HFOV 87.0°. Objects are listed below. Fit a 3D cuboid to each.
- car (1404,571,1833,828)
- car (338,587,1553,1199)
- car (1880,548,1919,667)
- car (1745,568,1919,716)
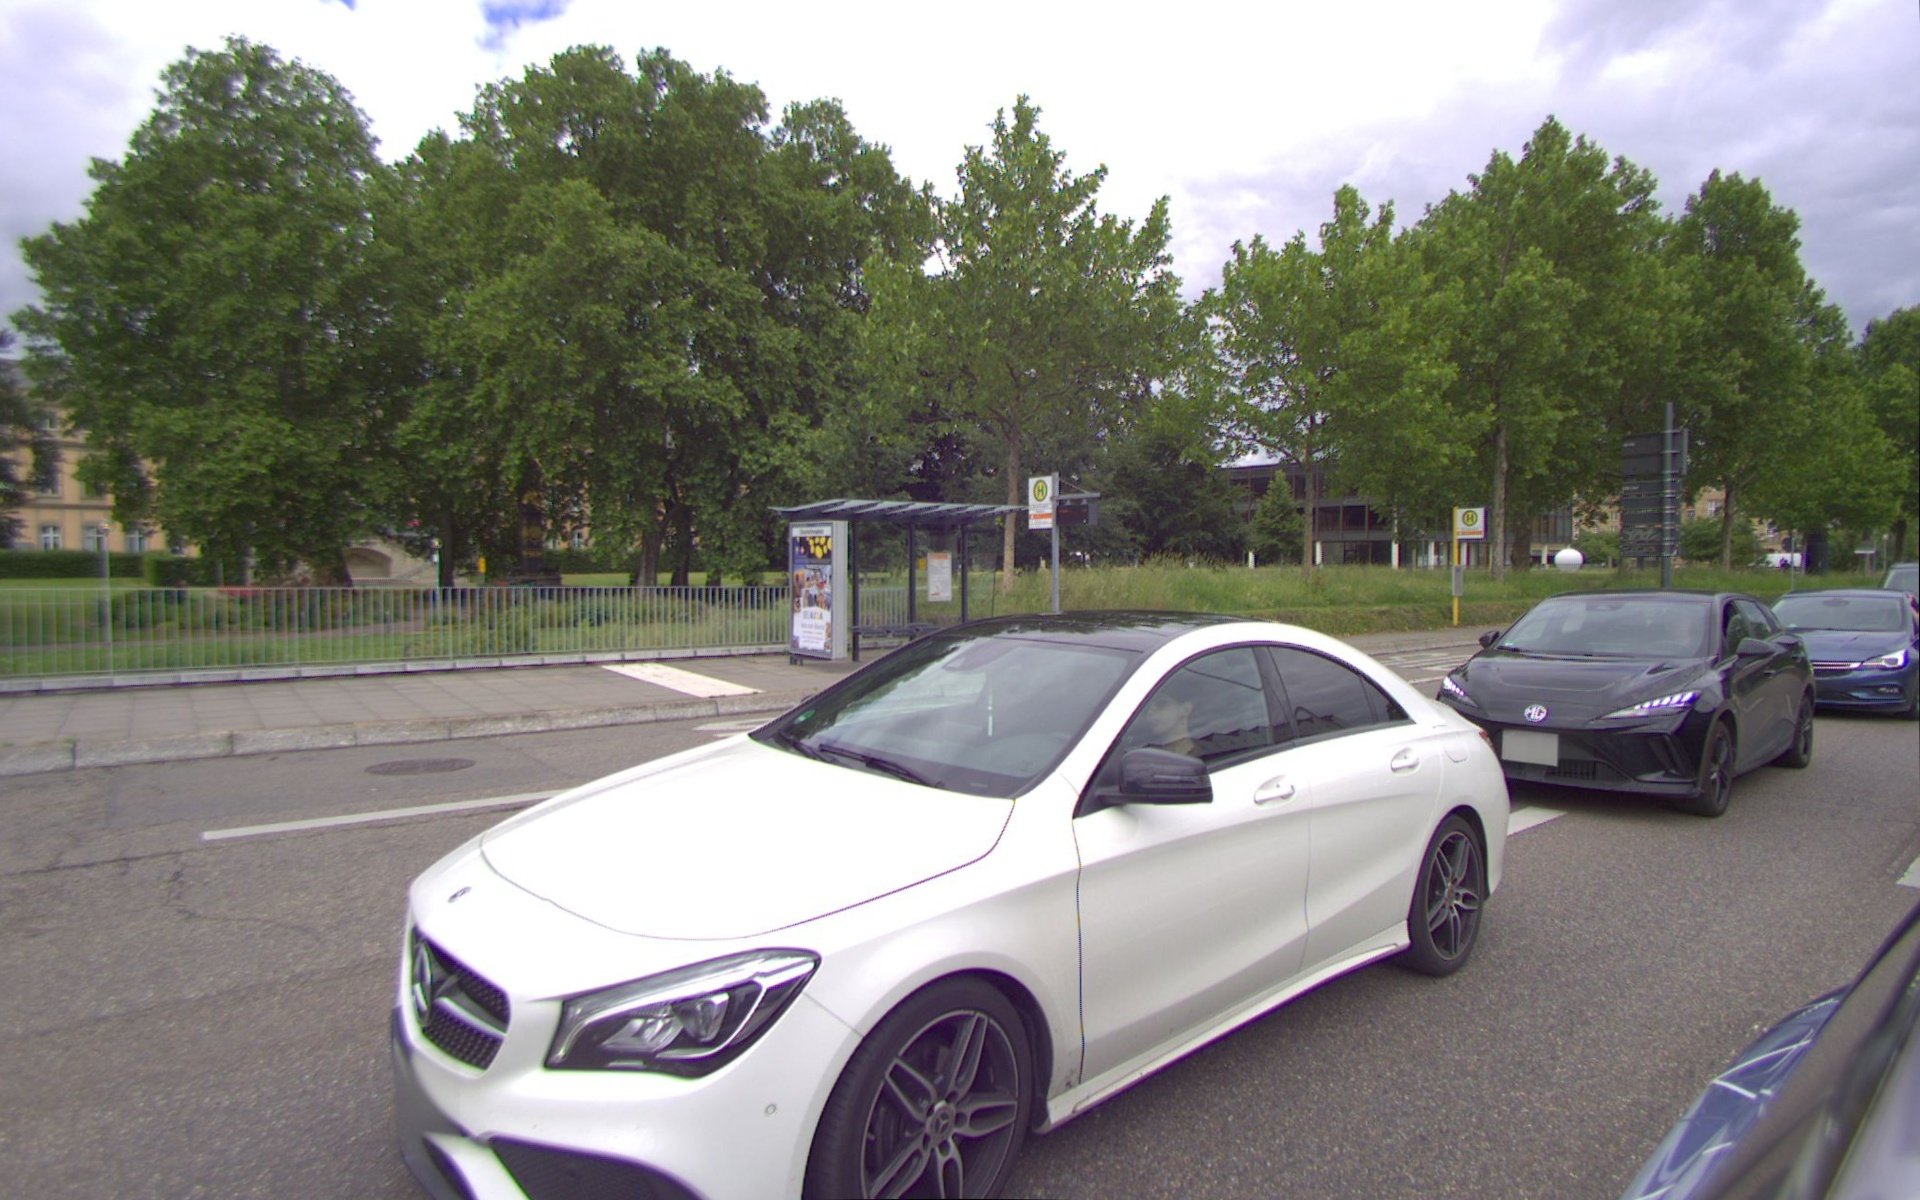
[{"bbox_3d":[5.403,0.575,8.106,4.047,1.543,1.828,0,1,-41],"label":"car"},{"bbox_3d":[0.415,0.698,3.744,4.427,1.441,1.722,-1,1,-40],"label":"car"},{"bbox_3d":[17.041,0.083,17.074,4.353,1.885,1.722,-1,1,-40],"label":"car"},{"bbox_3d":[11.131,0.399,12.403,3.930,1.556,1.572,-1,1,-39],"label":"car"}]
